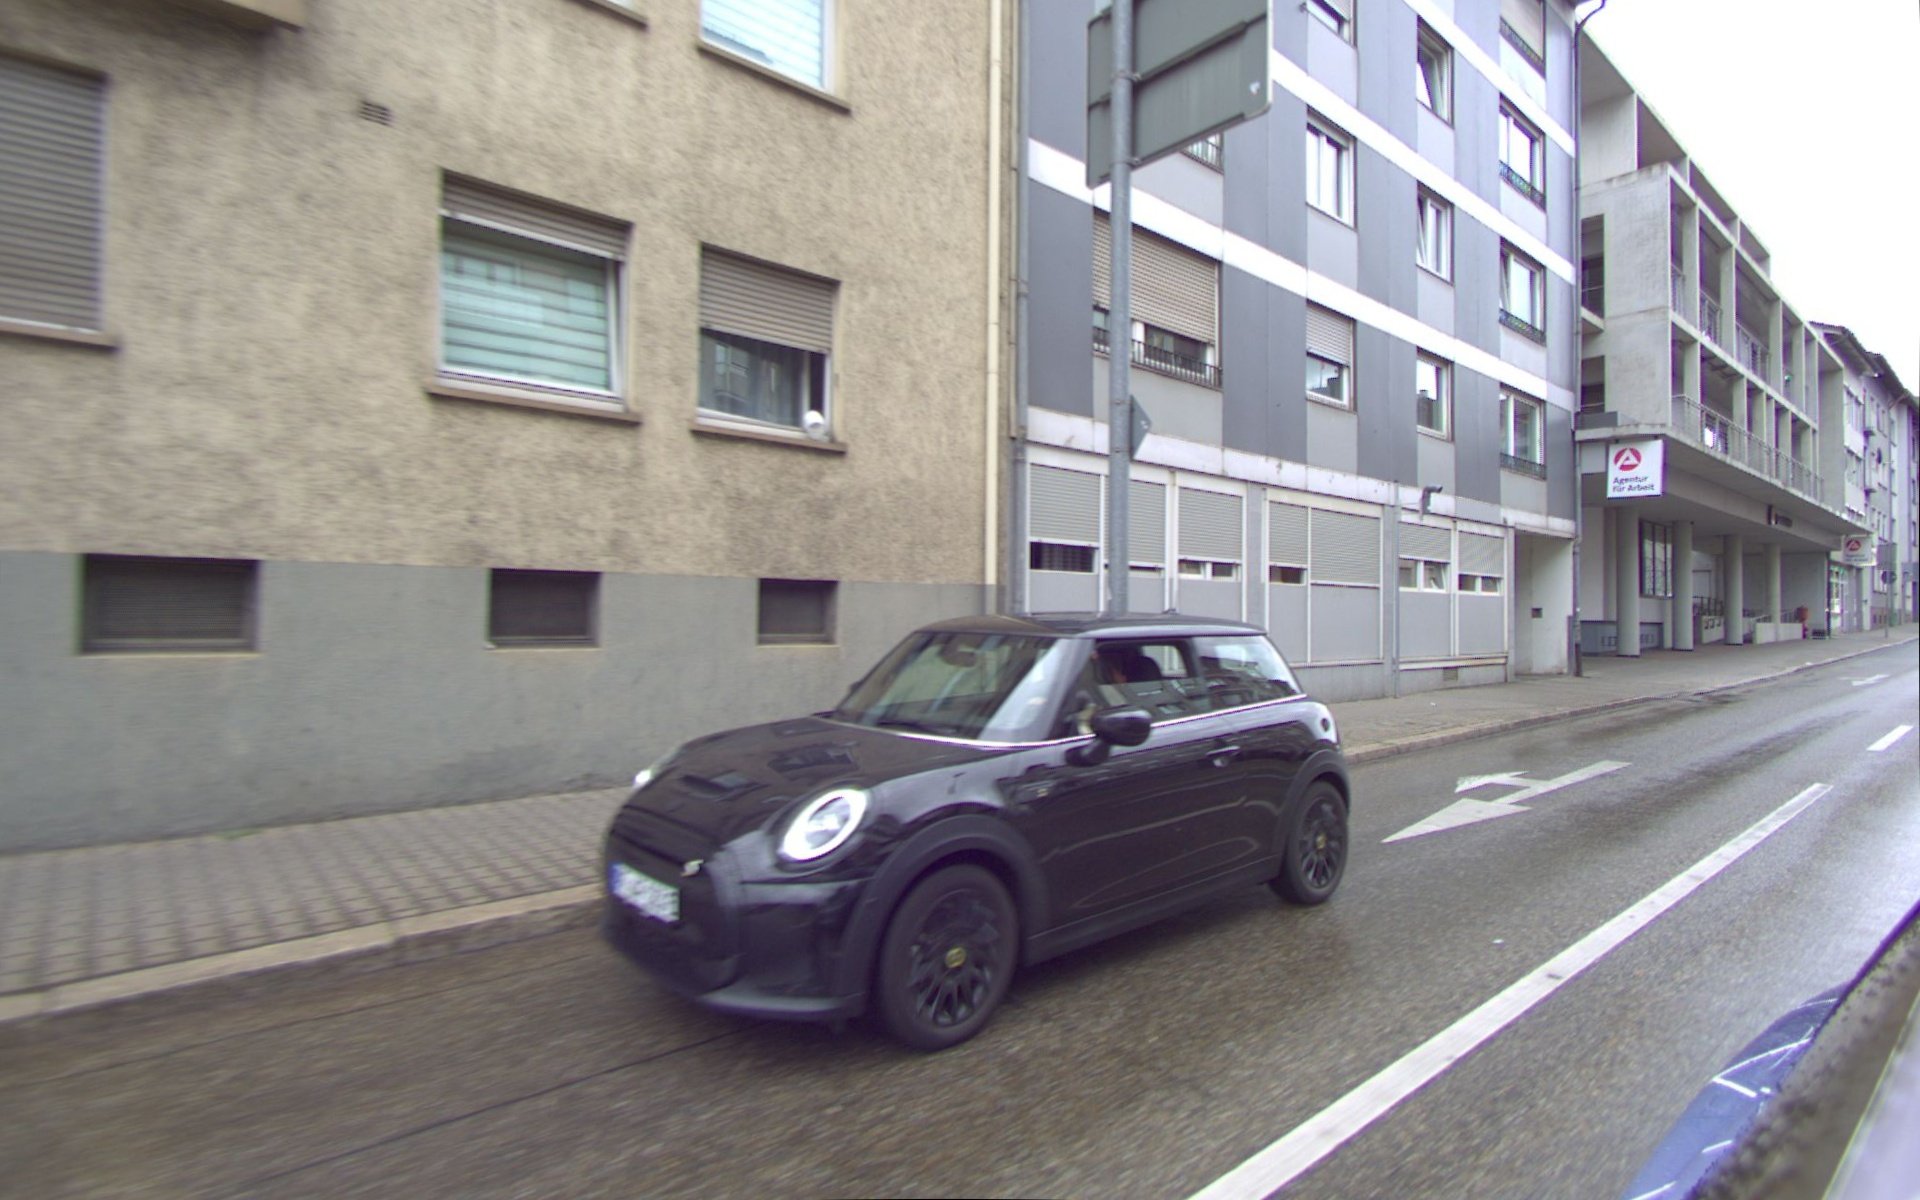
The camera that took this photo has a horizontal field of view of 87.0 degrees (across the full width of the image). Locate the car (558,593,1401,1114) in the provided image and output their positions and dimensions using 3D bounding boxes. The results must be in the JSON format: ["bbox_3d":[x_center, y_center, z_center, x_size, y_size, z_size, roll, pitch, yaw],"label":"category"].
[{"bbox_3d":[0.401,0.700,4.826,4.003,1.438,1.662,-1,1,-43],"label":"car"}]
